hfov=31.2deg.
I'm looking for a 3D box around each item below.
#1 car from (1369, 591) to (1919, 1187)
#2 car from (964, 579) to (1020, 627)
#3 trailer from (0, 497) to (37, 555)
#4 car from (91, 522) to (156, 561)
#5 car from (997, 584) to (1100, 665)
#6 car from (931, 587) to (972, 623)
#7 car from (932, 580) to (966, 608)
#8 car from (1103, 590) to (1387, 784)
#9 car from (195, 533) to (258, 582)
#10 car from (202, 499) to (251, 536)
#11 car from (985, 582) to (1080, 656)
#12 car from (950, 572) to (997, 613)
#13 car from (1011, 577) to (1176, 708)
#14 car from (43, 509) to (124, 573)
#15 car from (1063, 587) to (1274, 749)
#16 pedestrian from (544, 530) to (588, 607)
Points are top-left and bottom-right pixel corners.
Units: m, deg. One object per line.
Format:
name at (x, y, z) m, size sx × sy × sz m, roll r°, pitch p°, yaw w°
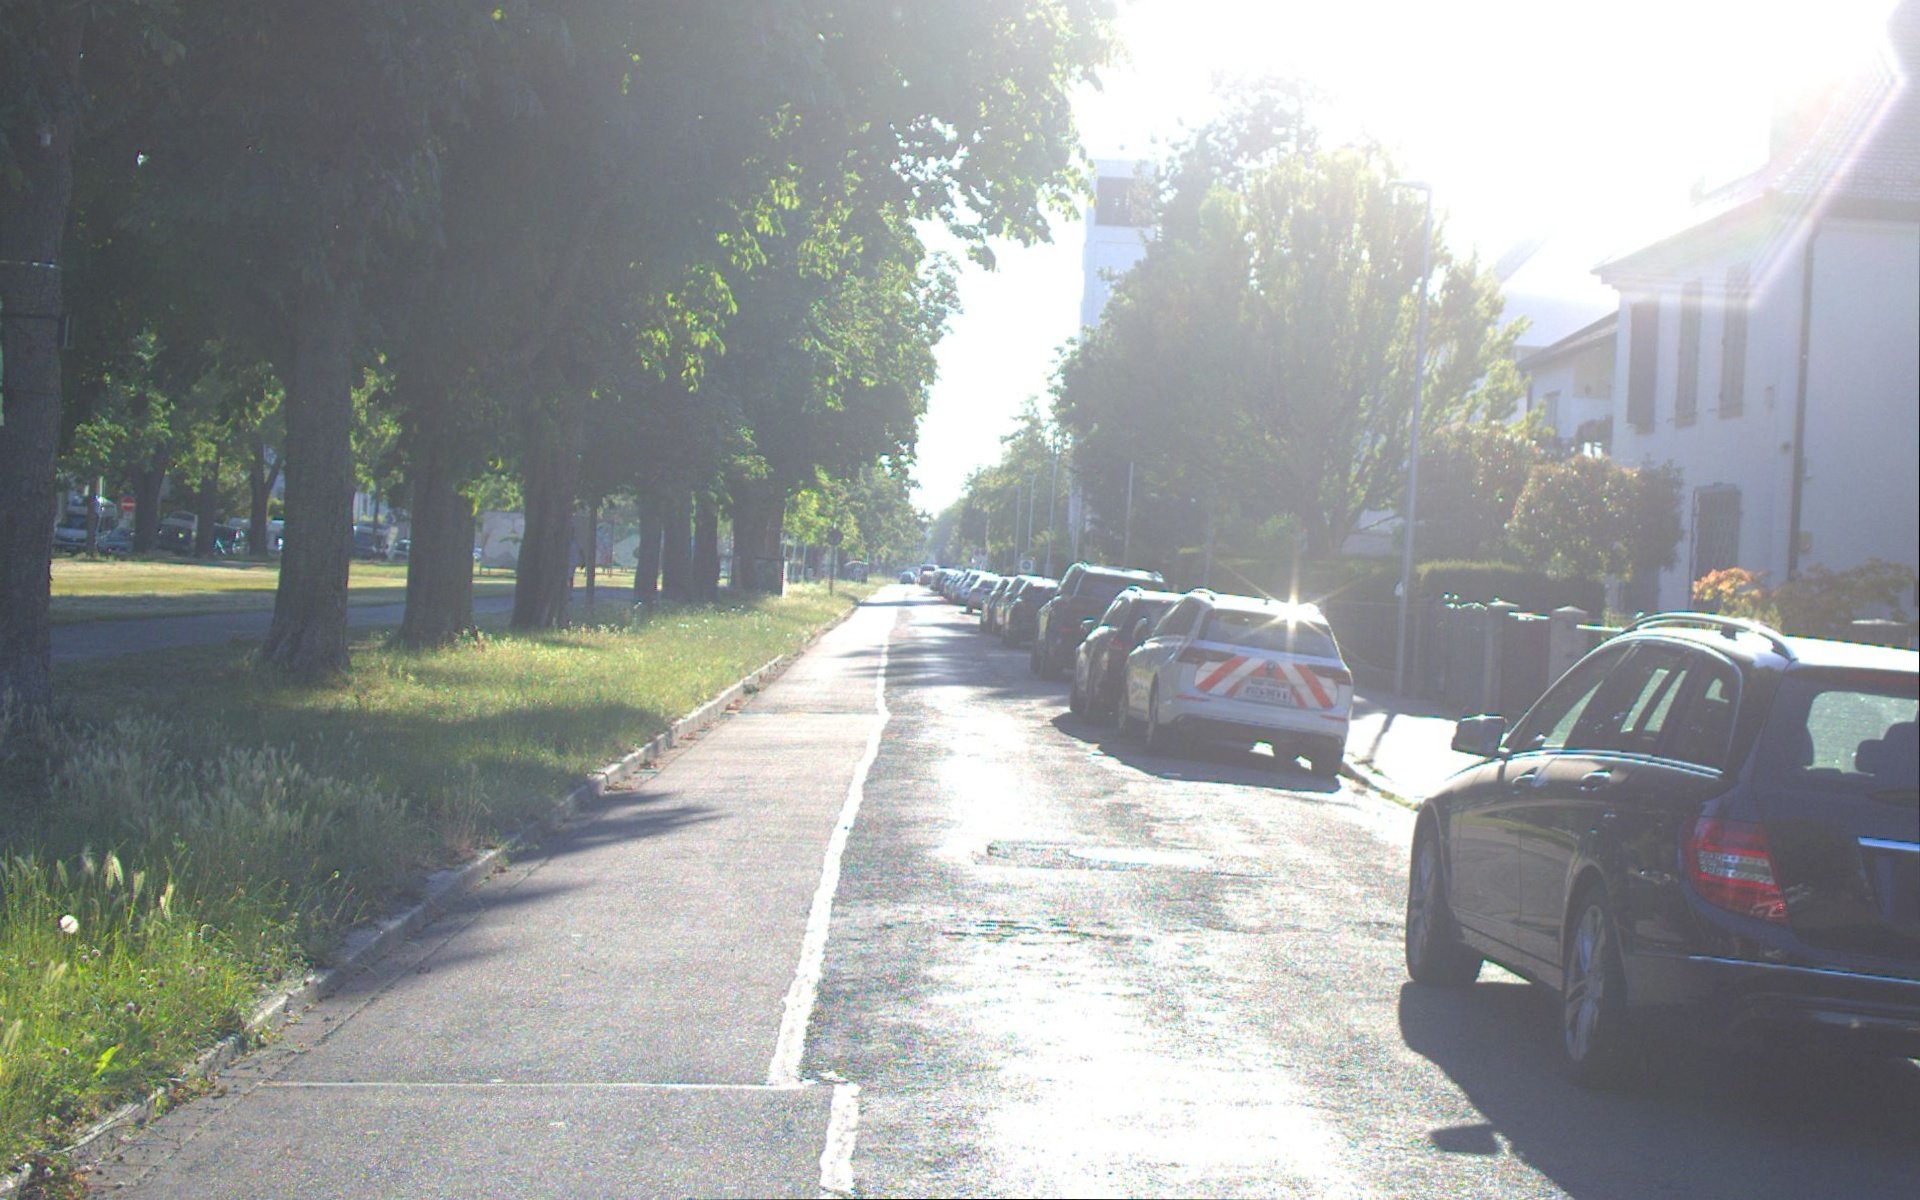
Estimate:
car at (2.671, 0.824, 11.422) m, size 1.779 × 1.494 × 4.398 m, roll 6°, pitch 0°, yaw -2°
car at (1.147, 0.103, 123.889) m, size 1.757 × 1.415 × 4.072 m, roll 10°, pitch 0°, yaw 0°
trailer at (-41.992, -3.267, 150.133) m, size 1.993 × 2.420 × 4.724 m, roll 3°, pitch 0°, yaw 0°
car at (-36.589, -2.541, 150.462) m, size 1.685 × 1.554 × 4.314 m, roll 3°, pitch 0°, yaw 0°
car at (1.795, 0.489, 71.005) m, size 1.793 × 1.487 × 4.674 m, roll 4°, pitch 0°, yaw -1°
car at (-0.426, 0.224, 167.942) m, size 1.758 × 1.599 × 4.359 m, roll 3°, pitch 0°, yaw -2°
car at (-0.689, -0.368, 214.777) m, size 1.993 × 1.624 × 4.000 m, roll 3°, pitch 0°, yaw 0°
car at (2.541, 0.740, 31.746) m, size 1.993 × 1.459 × 4.550 m, roll 5°, pitch 0°, yaw -2°
car at (-36.683, -2.109, 172.031) m, size 1.993 × 2.242 × 5.187 m, roll 3°, pitch 0°, yaw -1°
car at (-43.568, -4.895, 204.405) m, size 1.993 × 2.007 × 4.484 m, roll 1°, pitch -1°, yaw -1°
car at (1.689, 0.434, 81.737) m, size 1.691 × 1.478 × 3.930 m, roll 8°, pitch 0°, yaw -5°
car at (0.580, -0.335, 147.120) m, size 1.758 × 1.599 × 4.359 m, roll 3°, pitch 0°, yaw -2°
car at (1.942, 0.595, 51.514) m, size 1.993 × 1.731 × 4.864 m, roll 4°, pitch 0°, yaw -2°
car at (-42.438, -2.824, 166.650) m, size 2.437 × 2.912 × 5.818 m, roll 1°, pitch 0°, yaw -1°
car at (2.202, 0.683, 37.470) m, size 1.780 × 1.458 × 4.594 m, roll 6°, pitch 0°, yaw -1°
pedestrian at (-9.142, -0.730, 79.792) m, size 0.724 × 1.752 × 0.993 m, roll 4°, pitch 1°, yaw 6°
